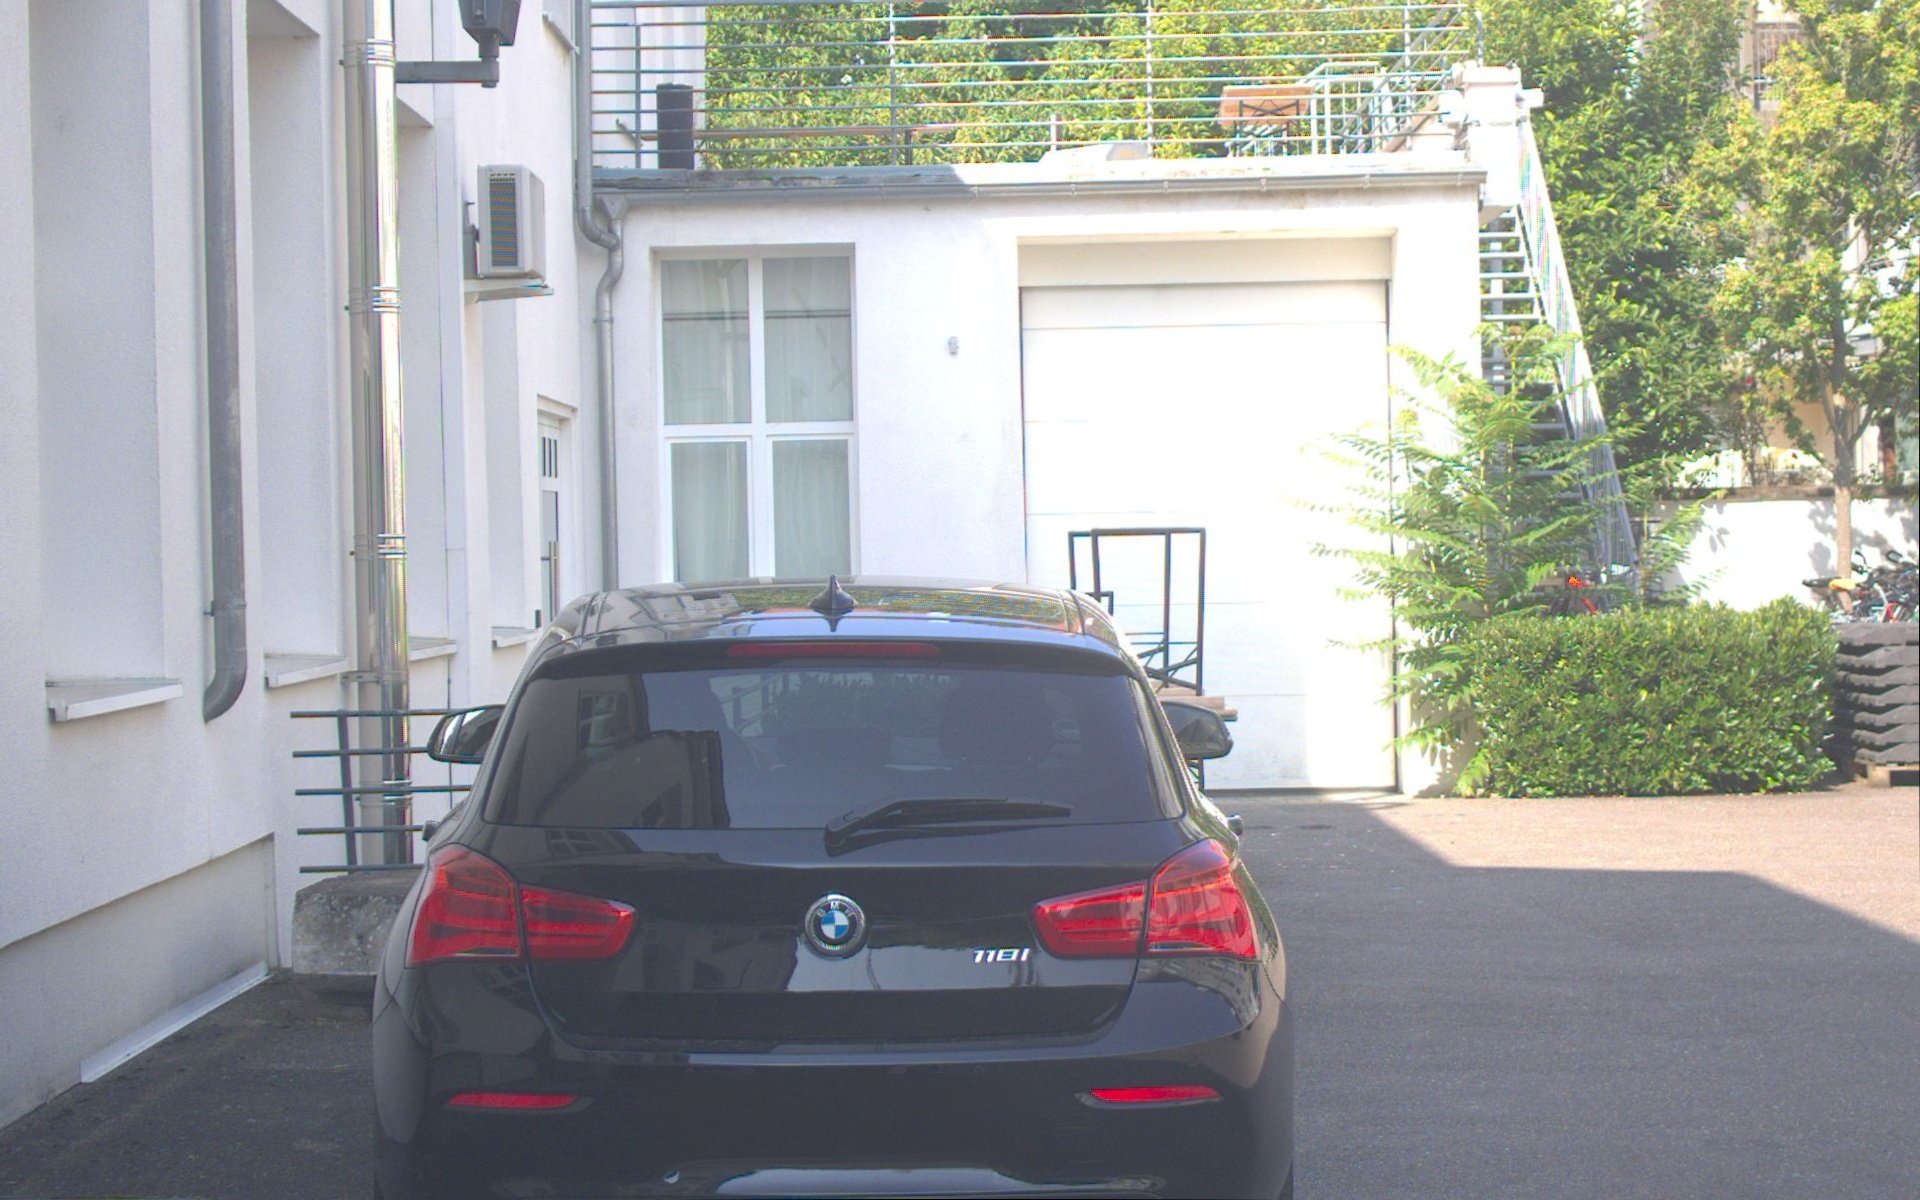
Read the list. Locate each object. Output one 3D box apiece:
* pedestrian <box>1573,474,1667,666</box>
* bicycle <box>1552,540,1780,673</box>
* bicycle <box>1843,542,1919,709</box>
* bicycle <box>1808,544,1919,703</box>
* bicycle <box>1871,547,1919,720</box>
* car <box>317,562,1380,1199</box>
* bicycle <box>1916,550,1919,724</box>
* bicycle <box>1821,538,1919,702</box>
[{"bbox_3d":[6.152,-0.287,32.069,0.609,1.765,0.861,-1,1,-8],"label":"pedestrian"},{"bbox_3d":[6.537,0.053,31.851,1.987,1.140,0.490,-2,2,-6],"label":"bicycle"},{"bbox_3d":[7.920,0.179,25.883,2.411,1.242,0.526,0,1,1],"label":"bicycle"},{"bbox_3d":[7.980,0.175,27.177,2.411,1.242,0.526,0,1,1],"label":"bicycle"},{"bbox_3d":[7.935,0.232,25.114,2.411,1.242,0.526,0,1,1],"label":"bicycle"},{"bbox_3d":[-0.266,0.654,7.893,1.792,1.423,4.137,0,1,-2],"label":"car"},{"bbox_3d":[8.052,0.263,24.347,2.411,1.242,0.526,0,1,1],"label":"bicycle"},{"bbox_3d":[7.907,0.143,26.487,2.411,1.242,0.526,0,1,1],"label":"bicycle"}]
